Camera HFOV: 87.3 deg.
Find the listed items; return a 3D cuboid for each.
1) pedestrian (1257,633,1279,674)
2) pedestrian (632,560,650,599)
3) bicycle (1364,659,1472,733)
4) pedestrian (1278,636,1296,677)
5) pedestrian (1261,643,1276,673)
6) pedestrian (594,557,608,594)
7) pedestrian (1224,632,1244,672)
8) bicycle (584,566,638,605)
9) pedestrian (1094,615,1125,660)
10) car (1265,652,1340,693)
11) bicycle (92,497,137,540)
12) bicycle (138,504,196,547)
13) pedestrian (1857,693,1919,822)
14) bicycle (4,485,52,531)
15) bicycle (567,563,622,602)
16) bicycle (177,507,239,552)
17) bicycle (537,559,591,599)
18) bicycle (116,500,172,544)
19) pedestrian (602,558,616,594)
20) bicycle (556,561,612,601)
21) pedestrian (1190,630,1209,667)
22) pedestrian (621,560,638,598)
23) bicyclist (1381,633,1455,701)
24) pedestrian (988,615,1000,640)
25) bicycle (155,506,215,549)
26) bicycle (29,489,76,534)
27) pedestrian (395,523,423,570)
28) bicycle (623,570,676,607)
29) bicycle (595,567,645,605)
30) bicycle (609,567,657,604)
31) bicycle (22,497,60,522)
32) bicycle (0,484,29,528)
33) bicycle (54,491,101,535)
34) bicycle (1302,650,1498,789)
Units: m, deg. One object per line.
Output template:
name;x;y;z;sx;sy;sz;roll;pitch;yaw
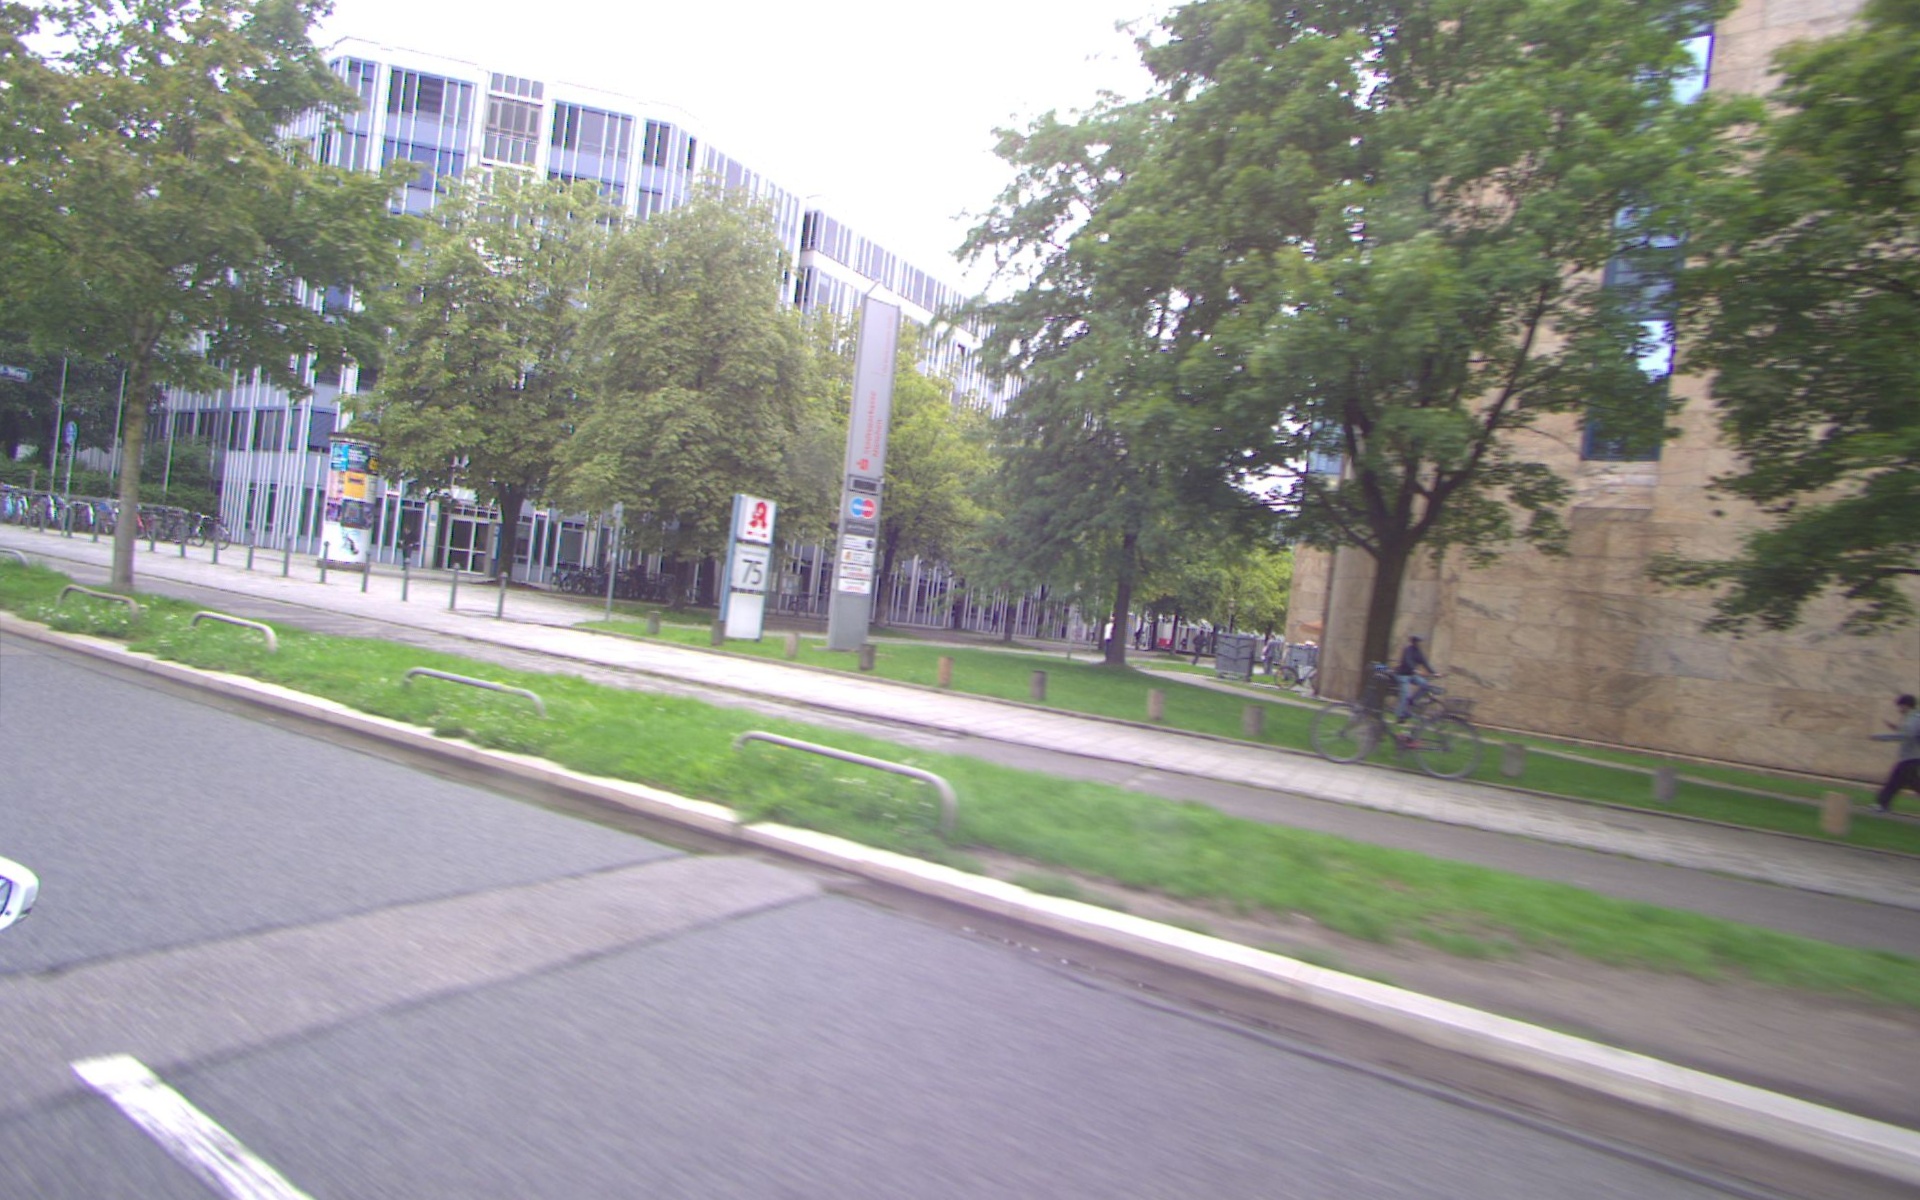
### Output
pedestrian;13.300;2.330;43.492;0.584;1.699;0.562;7;1;33
pedestrian;-14.311;-0.938;45.111;0.584;1.679;0.622;6;1;-22
bicycle;8.767;1.814;19.330;0.717;1.144;1.757;6;1;-23
pedestrian;14.249;2.452;43.815;0.494;1.699;0.593;7;1;24
pedestrian;14.037;2.627;45.738;0.504;1.299;0.420;7;1;20
pedestrian;-15.854;-1.086;44.420;0.307;1.592;0.349;6;2;-42
pedestrian;12.154;2.287;44.640;0.494;1.699;0.592;7;1;-4
bicycle;-13.799;-0.586;39.737;2.136;1.276;0.509;7;1;25
pedestrian;6.043;1.525;40.664;0.852;1.699;0.587;7;1;34
car;10.633;2.249;31.290;2.043;1.026;0.677;5;0;30
bicycle;-26.921;-2.601;32.023;1.922;1.204;0.446;7;1;32
bicycle;-25.899;-2.437;32.849;2.103;1.204;0.512;7;1;25
pedestrian;13.255;2.195;13.971;0.564;1.667;0.875;6;1;-20
bicycle;-28.182;-2.786;30.409;1.922;1.204;0.488;7;1;32
bicycle;-14.186;-0.691;39.017;2.136;1.276;0.509;7;1;25
bicycle;-25.691;-2.417;34.365;2.434;1.310;0.509;7;1;25
bicycle;-15.005;-0.813;38.069;2.019;1.276;0.607;7;1;27
bicycle;-26.347;-2.508;32.469;2.103;1.204;0.446;7;1;25
pedestrian;-15.485;-1.057;44.363;0.342;1.510;0.346;7;1;0
bicycle;-14.383;-0.722;38.470;2.136;1.276;0.509;7;1;25
pedestrian;11.263;2.283;47.291;0.507;1.652;0.503;8;2;40
pedestrian;-14.408;-0.911;43.873;0.342;1.592;0.407;7;1;28
bicyclist;8.802;1.283;19.374;0.717;1.144;0.954;6;1;-23
pedestrian;2.368;1.908;70.064;0.477;1.679;0.482;7;1;32
bicycle;-25.897;-2.419;33.610;2.103;1.204;0.578;7;1;25
bicycle;-27.875;-2.730;30.902;1.922;1.204;0.488;7;1;32
pedestrian;-22.180;-2.157;40.484;0.684;1.795;0.760;6;2;-45
bicycle;-12.787;-0.472;41.381;2.136;1.276;0.553;7;1;25
bicycle;-13.656;-0.577;40.347;1.986;1.276;0.509;7;1;25
bicycle;-13.334;-0.578;40.994;1.919;1.276;0.509;7;1;25
bicycle;-40.352;-3.965;44.150;1.803;0.864;0.683;8;2;31
bicycle;-28.435;-2.842;29.956;1.922;1.204;0.488;7;1;32
bicycle;-27.601;-2.719;31.446;1.922;1.204;0.488;7;1;32
bicycle;5.017;1.323;11.520;1.887;1.266;0.621;7;1;28
